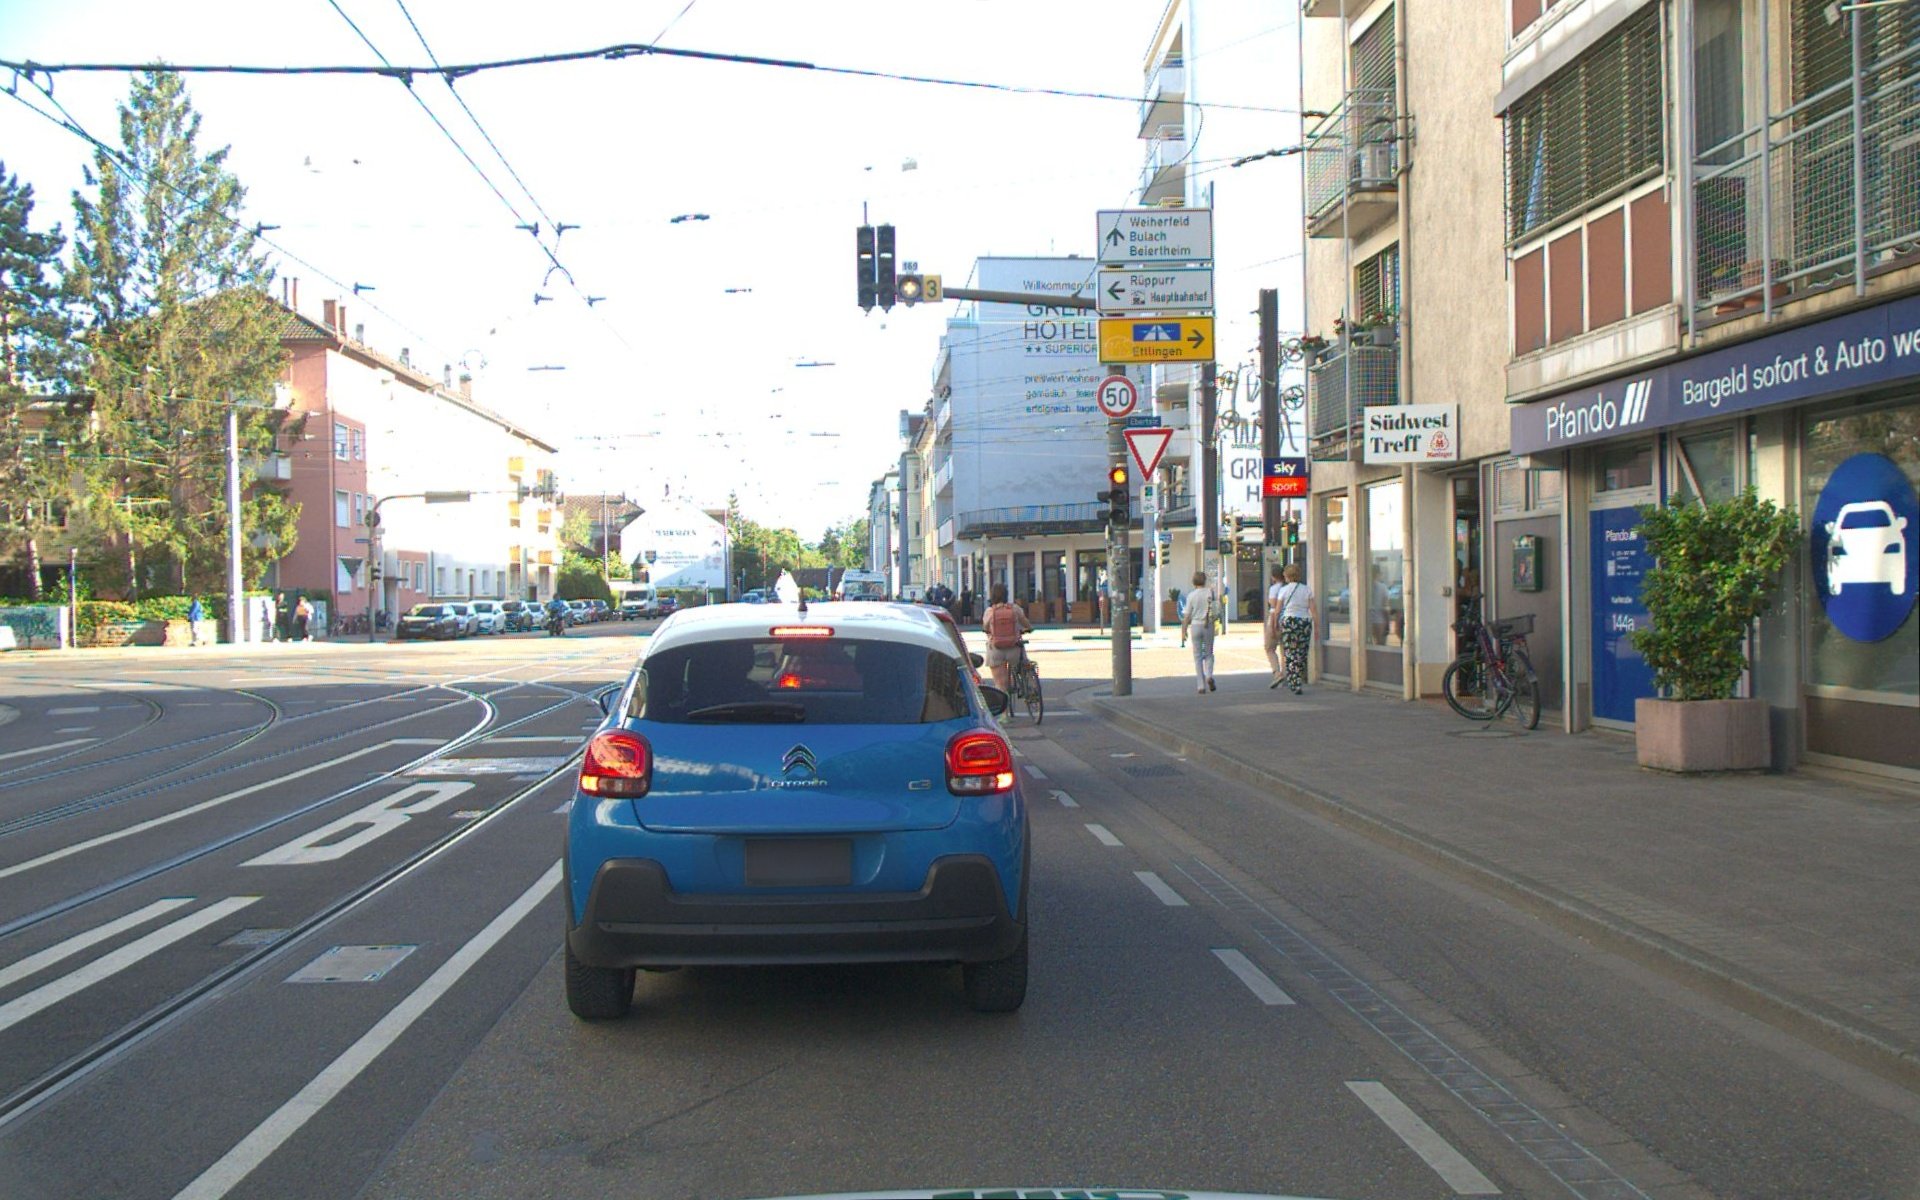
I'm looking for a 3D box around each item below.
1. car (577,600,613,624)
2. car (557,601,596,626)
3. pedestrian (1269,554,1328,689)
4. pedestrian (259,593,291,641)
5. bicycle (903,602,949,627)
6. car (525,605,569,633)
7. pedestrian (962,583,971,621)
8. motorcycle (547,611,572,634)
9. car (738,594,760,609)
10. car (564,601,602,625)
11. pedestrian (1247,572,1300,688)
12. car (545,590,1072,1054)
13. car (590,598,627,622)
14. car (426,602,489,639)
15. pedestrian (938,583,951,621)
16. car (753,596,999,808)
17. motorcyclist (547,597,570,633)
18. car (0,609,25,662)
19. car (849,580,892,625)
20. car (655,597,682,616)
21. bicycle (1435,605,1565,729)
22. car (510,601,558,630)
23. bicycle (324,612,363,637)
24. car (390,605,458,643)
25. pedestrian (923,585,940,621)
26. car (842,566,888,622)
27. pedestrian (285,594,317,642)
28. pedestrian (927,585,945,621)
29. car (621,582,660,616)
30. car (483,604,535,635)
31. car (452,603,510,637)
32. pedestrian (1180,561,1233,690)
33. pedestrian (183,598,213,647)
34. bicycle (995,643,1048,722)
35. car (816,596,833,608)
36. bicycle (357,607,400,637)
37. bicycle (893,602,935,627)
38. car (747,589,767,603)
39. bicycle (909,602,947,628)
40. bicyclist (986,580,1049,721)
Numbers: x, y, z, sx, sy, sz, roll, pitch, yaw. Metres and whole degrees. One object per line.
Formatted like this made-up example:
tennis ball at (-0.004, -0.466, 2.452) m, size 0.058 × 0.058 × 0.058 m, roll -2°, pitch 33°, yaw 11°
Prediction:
car at (-25.517, 0.817, 115.757) m, size 1.833 × 1.601 × 3.997 m, roll -1°, pitch 0°, yaw -4°
car at (-24.472, 0.854, 105.681) m, size 1.874 × 1.523 × 3.996 m, roll -1°, pitch 0°, yaw -5°
pedestrian at (4.393, 0.271, 21.493) m, size 0.530 × 1.701 × 0.650 m, roll -3°, pitch 0°, yaw -3°
pedestrian at (-24.943, 0.606, 60.203) m, size 0.826 × 1.720 × 0.737 m, roll -1°, pitch 0°, yaw 2°
bicycle at (-1.365, 0.594, 67.016) m, size 1.835 × 0.973 × 0.702 m, roll -1°, pitch 0°, yaw 1°
car at (-24.270, 1.102, 97.280) m, size 1.874 × 1.523 × 3.996 m, roll -1°, pitch 0°, yaw -5°
pedestrian at (0.277, 0.074, 70.139) m, size 0.279 × 1.583 × 0.304 m, roll -1°, pitch 0°, yaw -10°
motorcycle at (-16.229, 0.898, 67.014) m, size 0.603 × 0.879 × 1.670 m, roll -1°, pitch 0°, yaw -1°
car at (-21.537, 0.156, 169.063) m, size 1.982 × 1.552 × 3.996 m, roll -1°, pitch 0°, yaw -5°
car at (-25.199, 0.864, 110.669) m, size 1.874 × 1.523 × 3.996 m, roll -1°, pitch 0°, yaw -5°
pedestrian at (4.291, 0.405, 22.659) m, size 0.530 × 1.534 × 0.611 m, roll -3°, pitch 2°, yaw -3°
car at (-0.708, 0.707, 7.393) m, size 1.710 × 1.488 × 3.994 m, roll 0°, pitch 0°, yaw -7°
car at (-25.724, 0.728, 121.179) m, size 1.990 × 1.647 × 4.508 m, roll -1°, pitch 0°, yaw -3°
car at (-22.508, 0.890, 74.192) m, size 1.874 × 1.523 × 3.996 m, roll -1°, pitch 0°, yaw -5°
pedestrian at (-0.650, 0.076, 69.599) m, size 0.482 × 1.583 × 0.383 m, roll -1°, pitch 0°, yaw -4°
car at (-0.618, 0.710, 13.617) m, size 1.703 × 1.445 × 3.999 m, roll -1°, pitch 0°, yaw -1°
motorcyclist at (-16.222, 0.606, 66.859) m, size 0.704 × 1.402 × 0.911 m, roll -1°, pitch 0°, yaw -1°
car at (-31.219, 1.126, 50.420) m, size 4.313 × 1.601 × 1.849 m, roll -1°, pitch 0°, yaw -15°
car at (-3.667, 0.099, 67.457) m, size 1.698 × 1.780 × 3.211 m, roll 0°, pitch 0°, yaw -4°
car at (-25.379, 0.571, 144.087) m, size 1.982 × 1.552 × 3.996 m, roll -1°, pitch 0°, yaw -5°
bicycle at (5.121, 0.603, 15.797) m, size 0.519 × 1.091 × 1.809 m, roll -1°, pitch 0°, yaw -4°
car at (-23.606, 0.825, 91.719) m, size 1.874 × 1.523 × 3.996 m, roll -1°, pitch 0°, yaw -5°
bicycle at (-25.087, 0.993, 67.318) m, size 0.718 × 0.968 × 2.596 m, roll -1°, pitch 0°, yaw -2°
car at (-22.149, 0.964, 68.470) m, size 1.874 × 1.458 × 3.995 m, roll -1°, pitch 0°, yaw -6°
pedestrian at (-1.276, 0.130, 74.306) m, size 0.637 × 1.583 × 0.490 m, roll -1°, pitch 0°, yaw -23°
car at (-4.165, -0.246, 72.365) m, size 1.954 × 2.366 × 3.997 m, roll 0°, pitch 0°, yaw -4°
pedestrian at (-23.976, 0.646, 60.214) m, size 0.826 × 1.720 × 0.737 m, roll -1°, pitch 0°, yaw 2°
pedestrian at (-1.071, 0.127, 72.506) m, size 0.637 × 1.583 × 0.490 m, roll -1°, pitch 0°, yaw -23°
car at (-22.950, -0.081, 118.947) m, size 2.164 × 2.290 × 4.672 m, roll -1°, pitch 0°, yaw -5°
car at (-23.324, 0.991, 85.584) m, size 1.874 × 1.523 × 3.996 m, roll -1°, pitch 0°, yaw -5°
car at (-22.785, 0.921, 78.811) m, size 1.874 × 1.523 × 3.996 m, roll -1°, pitch 0°, yaw -5°
pedestrian at (3.362, 0.334, 22.585) m, size 0.530 × 1.701 × 0.624 m, roll -3°, pitch 2°, yaw -3°
pedestrian at (-26.303, 0.771, 57.084) m, size 0.841 × 1.654 × 0.509 m, roll -1°, pitch 0°, yaw -35°
bicycle at (0.750, 1.003, 20.621) m, size 0.489 × 0.879 × 1.748 m, roll -1°, pitch 0°, yaw -3°
car at (-15.796, 0.205, 192.926) m, size 1.722 × 1.281 × 3.826 m, roll -1°, pitch 0°, yaw -8°
bicycle at (-25.700, 0.968, 73.161) m, size 0.831 × 1.247 × 3.302 m, roll -1°, pitch 0°, yaw -2°
bicycle at (-1.899, 0.600, 68.366) m, size 1.684 × 0.973 × 0.702 m, roll -1°, pitch 0°, yaw 1°
car at (-22.961, -0.432, 187.082) m, size 1.982 × 1.552 × 3.996 m, roll -1°, pitch 0°, yaw -5°
bicycle at (-1.260, 0.594, 65.958) m, size 1.473 × 0.973 × 0.702 m, roll -1°, pitch 0°, yaw 1°
bicyclist at (0.698, 0.605, 20.283) m, size 0.711 × 1.674 × 0.790 m, roll -1°, pitch 0°, yaw -1°
